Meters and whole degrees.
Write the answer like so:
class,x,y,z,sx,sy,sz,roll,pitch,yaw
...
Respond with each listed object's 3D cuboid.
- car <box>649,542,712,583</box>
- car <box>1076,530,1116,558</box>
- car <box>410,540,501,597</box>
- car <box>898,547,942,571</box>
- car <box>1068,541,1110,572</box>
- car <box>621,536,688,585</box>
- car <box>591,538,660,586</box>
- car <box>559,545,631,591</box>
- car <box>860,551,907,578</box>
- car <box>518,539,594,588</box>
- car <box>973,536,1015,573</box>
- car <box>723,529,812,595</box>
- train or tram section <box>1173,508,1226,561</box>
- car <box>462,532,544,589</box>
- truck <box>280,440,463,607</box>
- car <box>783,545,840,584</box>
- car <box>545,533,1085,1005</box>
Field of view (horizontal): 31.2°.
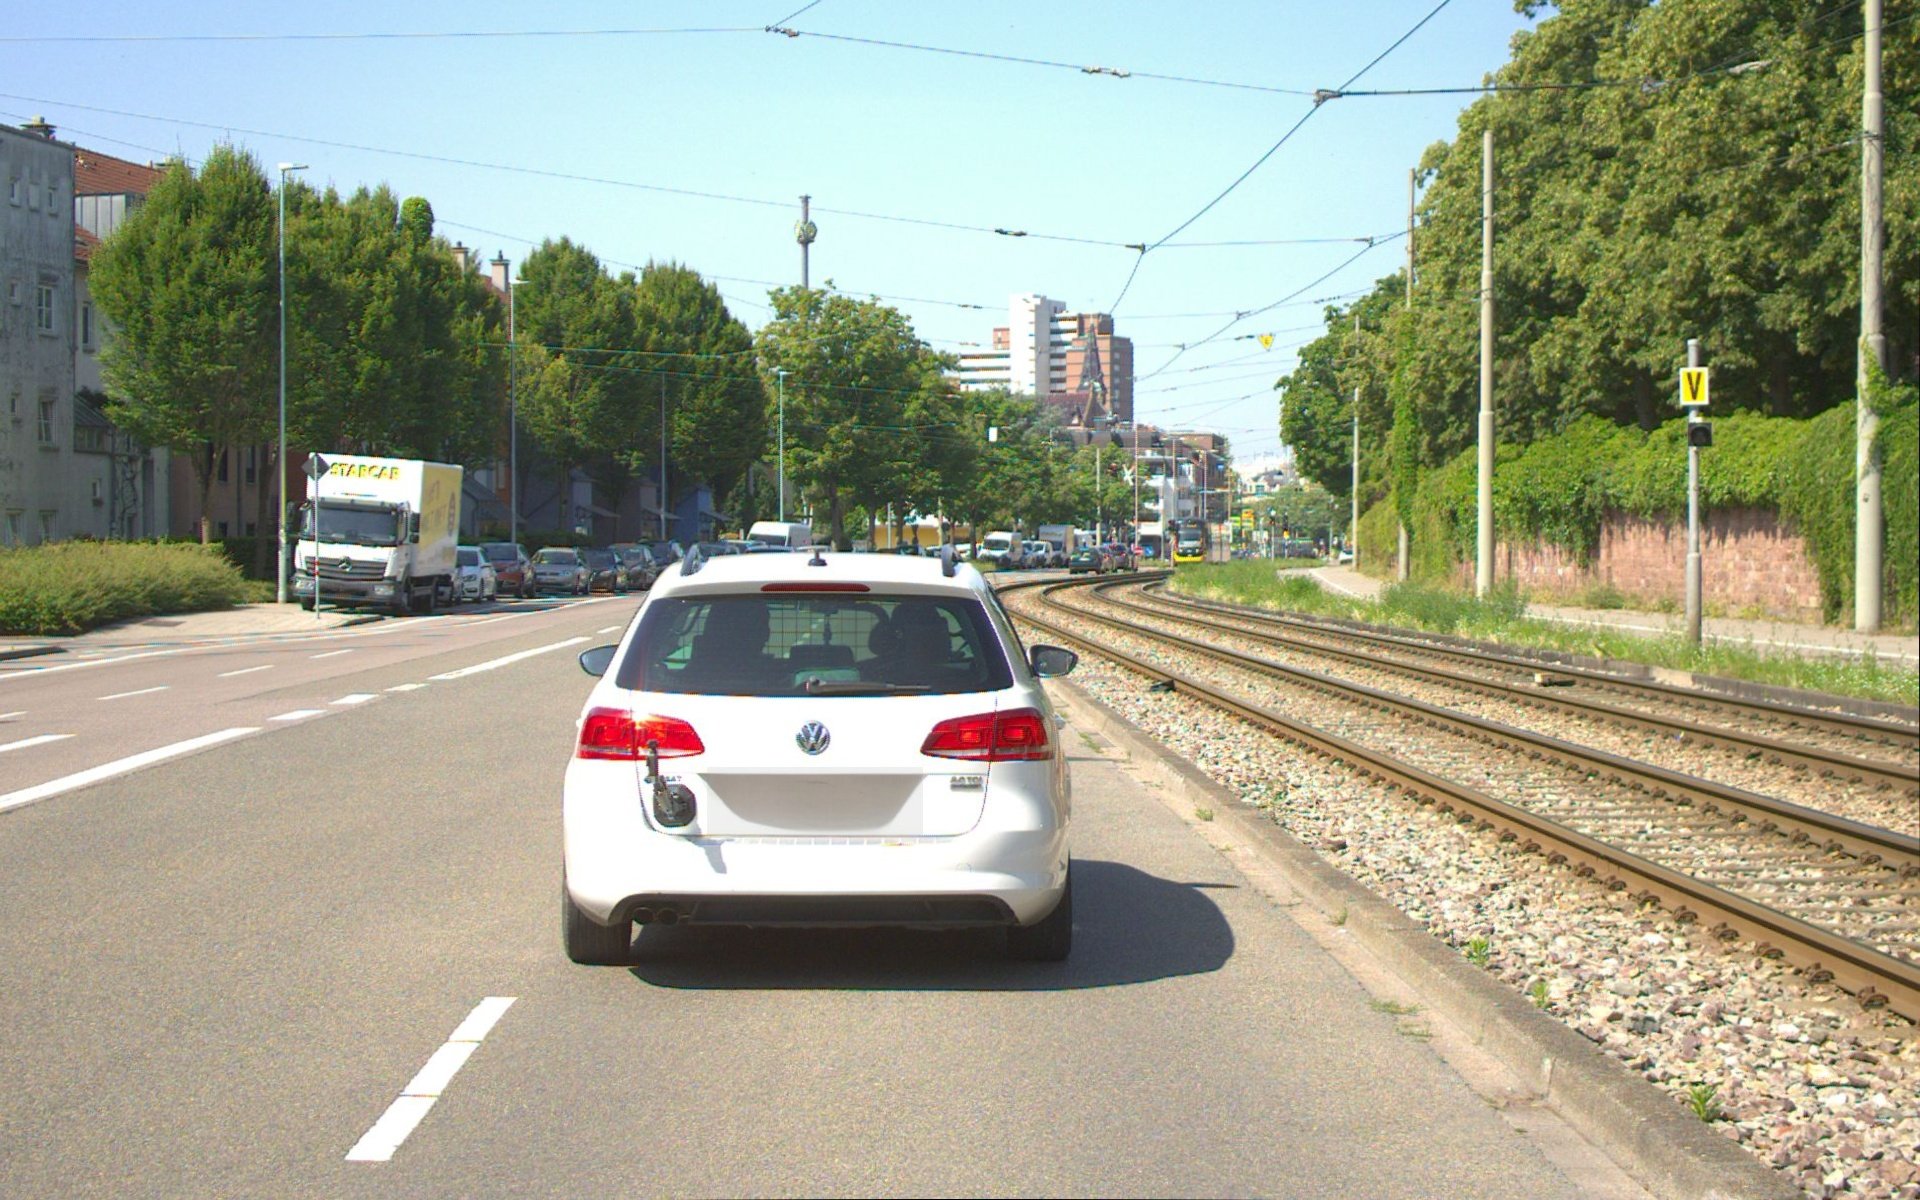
class,x,y,z,sx,sy,sz,roll,pitch,yaw
car,-10.805,-1.464,132.952,1.690,1.469,4.048,3,1,5
car,7.325,-3.029,184.735,1.801,1.455,3.999,1,1,7
car,-13.238,-0.835,90.422,1.757,1.424,4.282,2,1,0
car,-2.252,-2.312,194.774,1.700,1.347,3.998,0,1,11
car,6.703,-2.263,178.556,1.801,1.502,3.999,1,1,7
car,-11.307,-1.470,127.492,1.769,1.717,4.870,2,1,3
car,-11.849,-1.346,121.976,1.717,1.619,4.312,2,1,4
car,-12.303,-1.095,116.013,1.723,1.469,4.715,2,1,2
car,-4.028,-1.905,182.005,1.700,1.412,3.998,0,1,11
car,-12.840,-1.148,109.458,1.780,1.478,4.857,2,0,1
car,2.281,-3.044,228.709,1.881,2.407,5.114,0,1,11
car,-4.691,-0.943,84.260,1.800,1.502,4.000,1,2,2
train or tram section,17.487,-4.739,250.062,2.512,3.734,13.305,0,1,10
car,-13.095,-1.142,98.707,1.731,1.546,4.318,1,1,0
truck,-13.326,-1.733,78.515,2.667,3.518,8.591,2,1,0
car,-5.657,-1.372,131.247,1.659,1.415,4.309,-2,1,4
car,-0.521,0.497,13.198,1.691,1.446,4.459,1,1,-2
